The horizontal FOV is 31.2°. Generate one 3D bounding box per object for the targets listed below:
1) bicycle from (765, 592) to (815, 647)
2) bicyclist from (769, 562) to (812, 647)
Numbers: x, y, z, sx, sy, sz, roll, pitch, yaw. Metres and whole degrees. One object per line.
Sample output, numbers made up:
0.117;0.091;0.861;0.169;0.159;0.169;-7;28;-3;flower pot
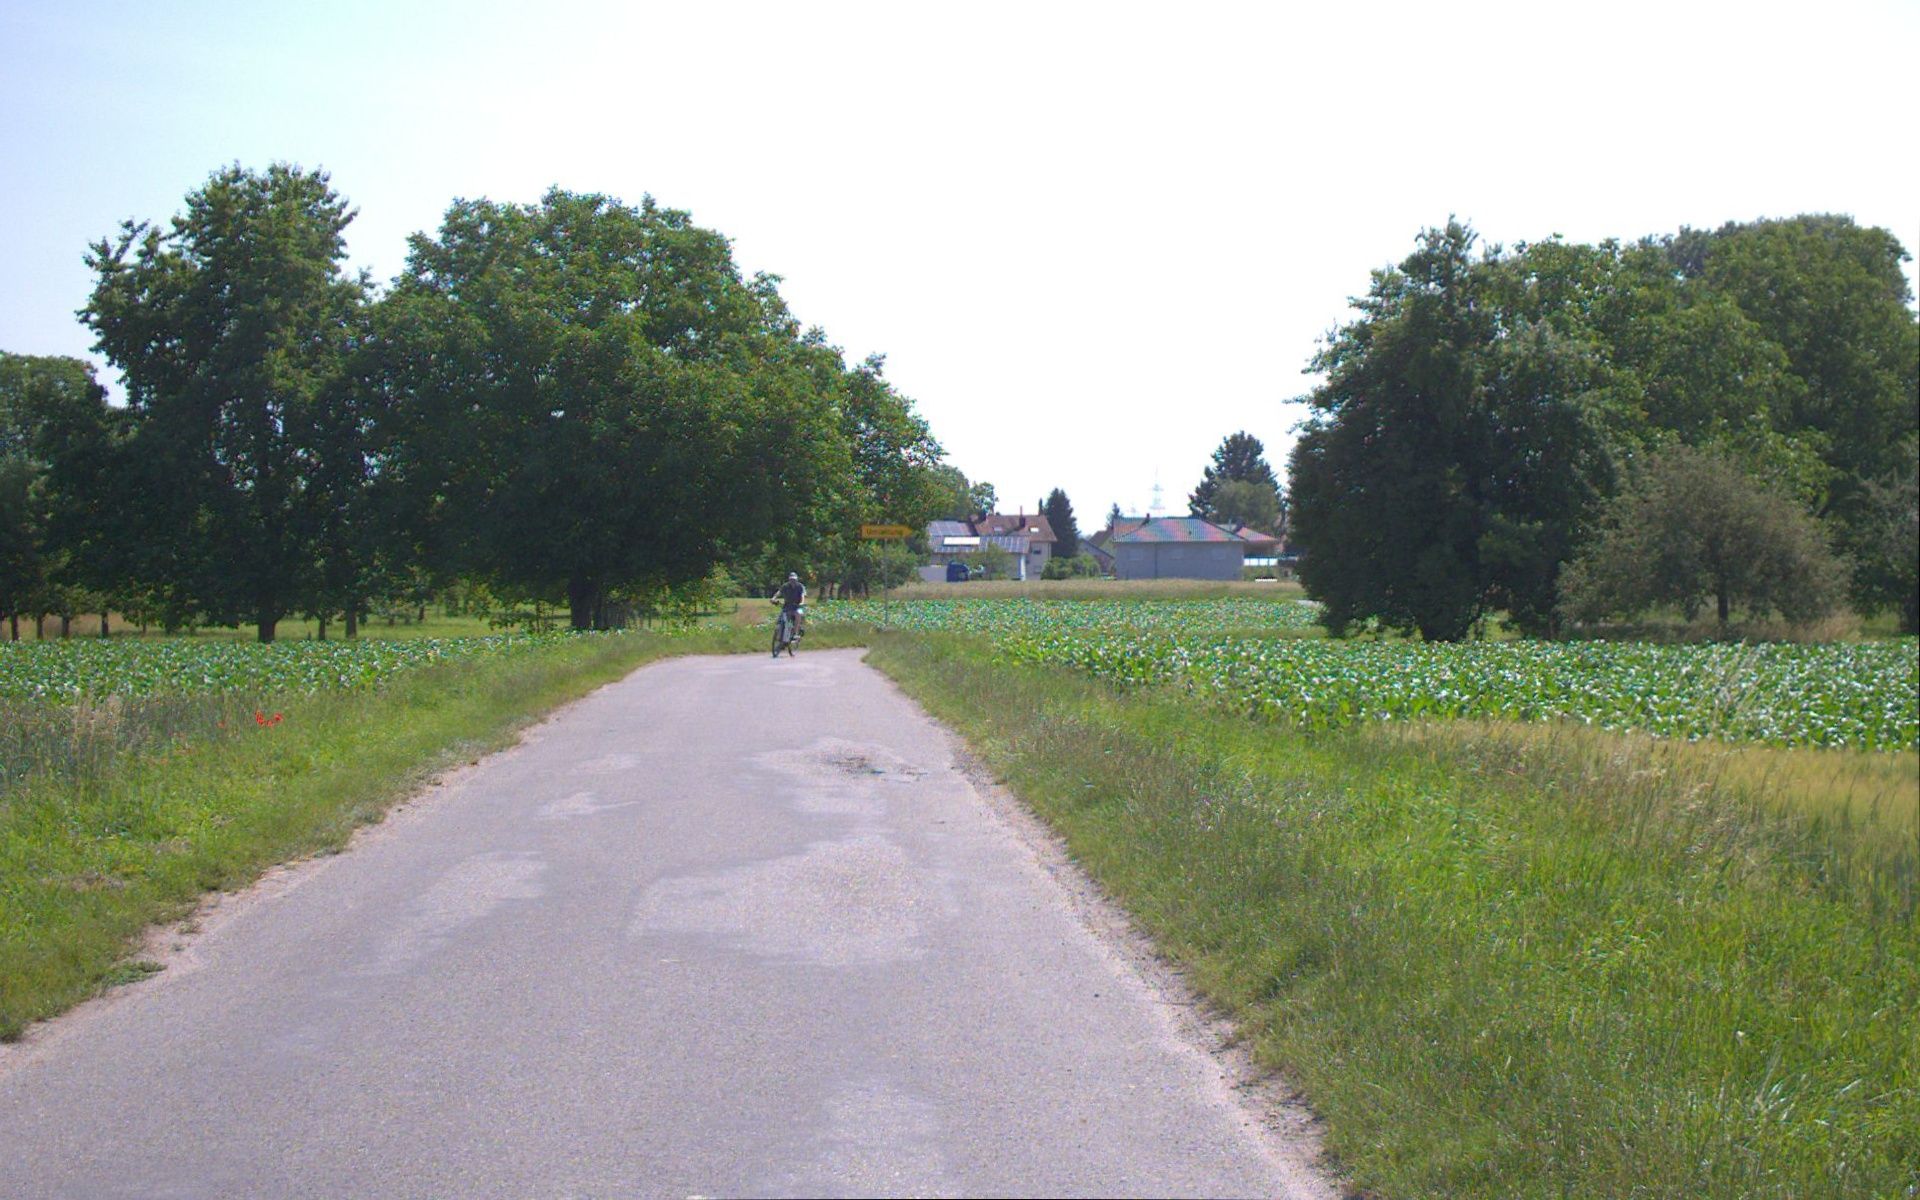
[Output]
-3.650;0.417;74.092;0.750;1.123;1.908;-2;0;6;bicycle
-3.658;0.096;74.095;0.750;1.785;0.717;-2;0;6;bicyclist
